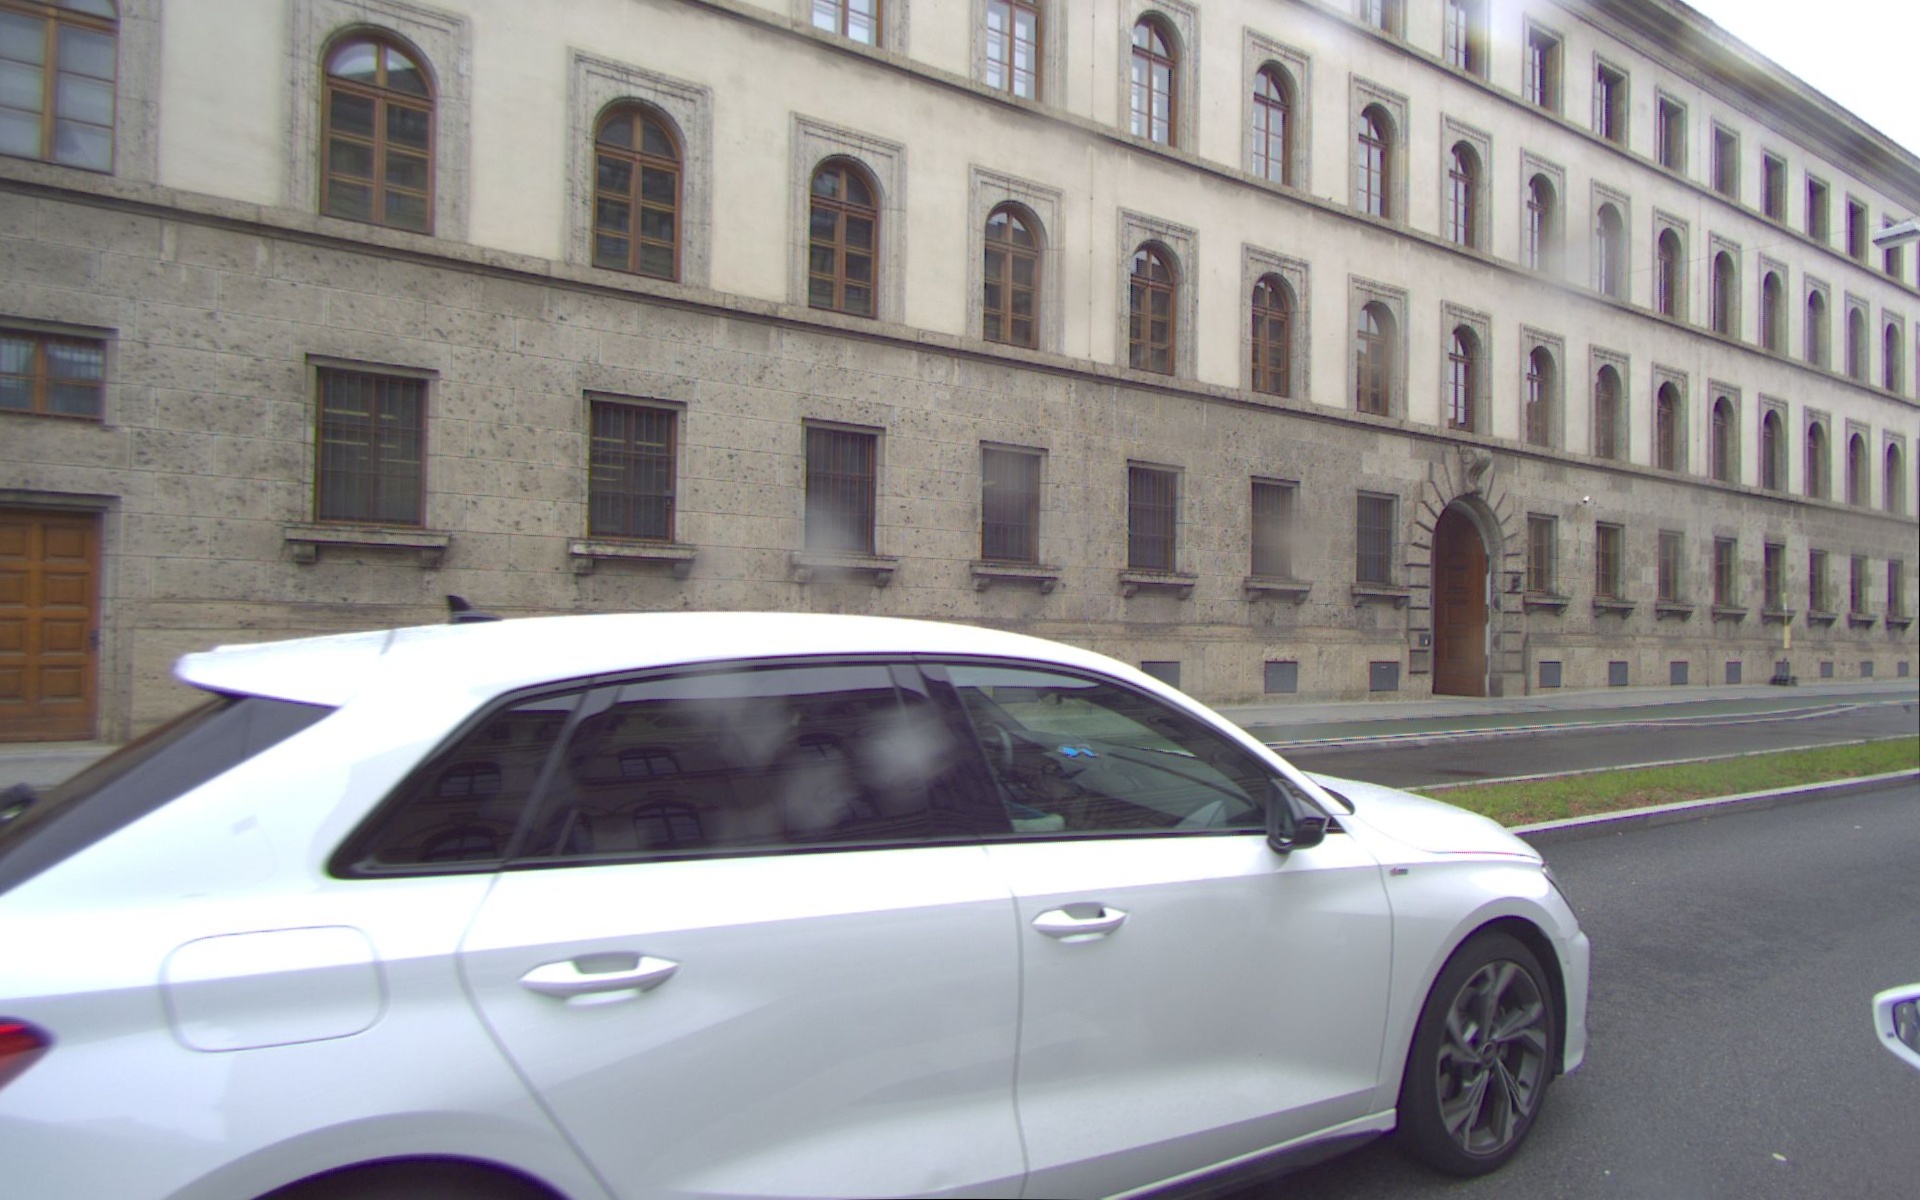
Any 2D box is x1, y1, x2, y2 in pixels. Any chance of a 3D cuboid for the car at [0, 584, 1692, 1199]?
[{"bbox_3d":[-0.057,0.746,2.775,4.401,1.443,1.804,2,0,-31],"label":"car"}]
